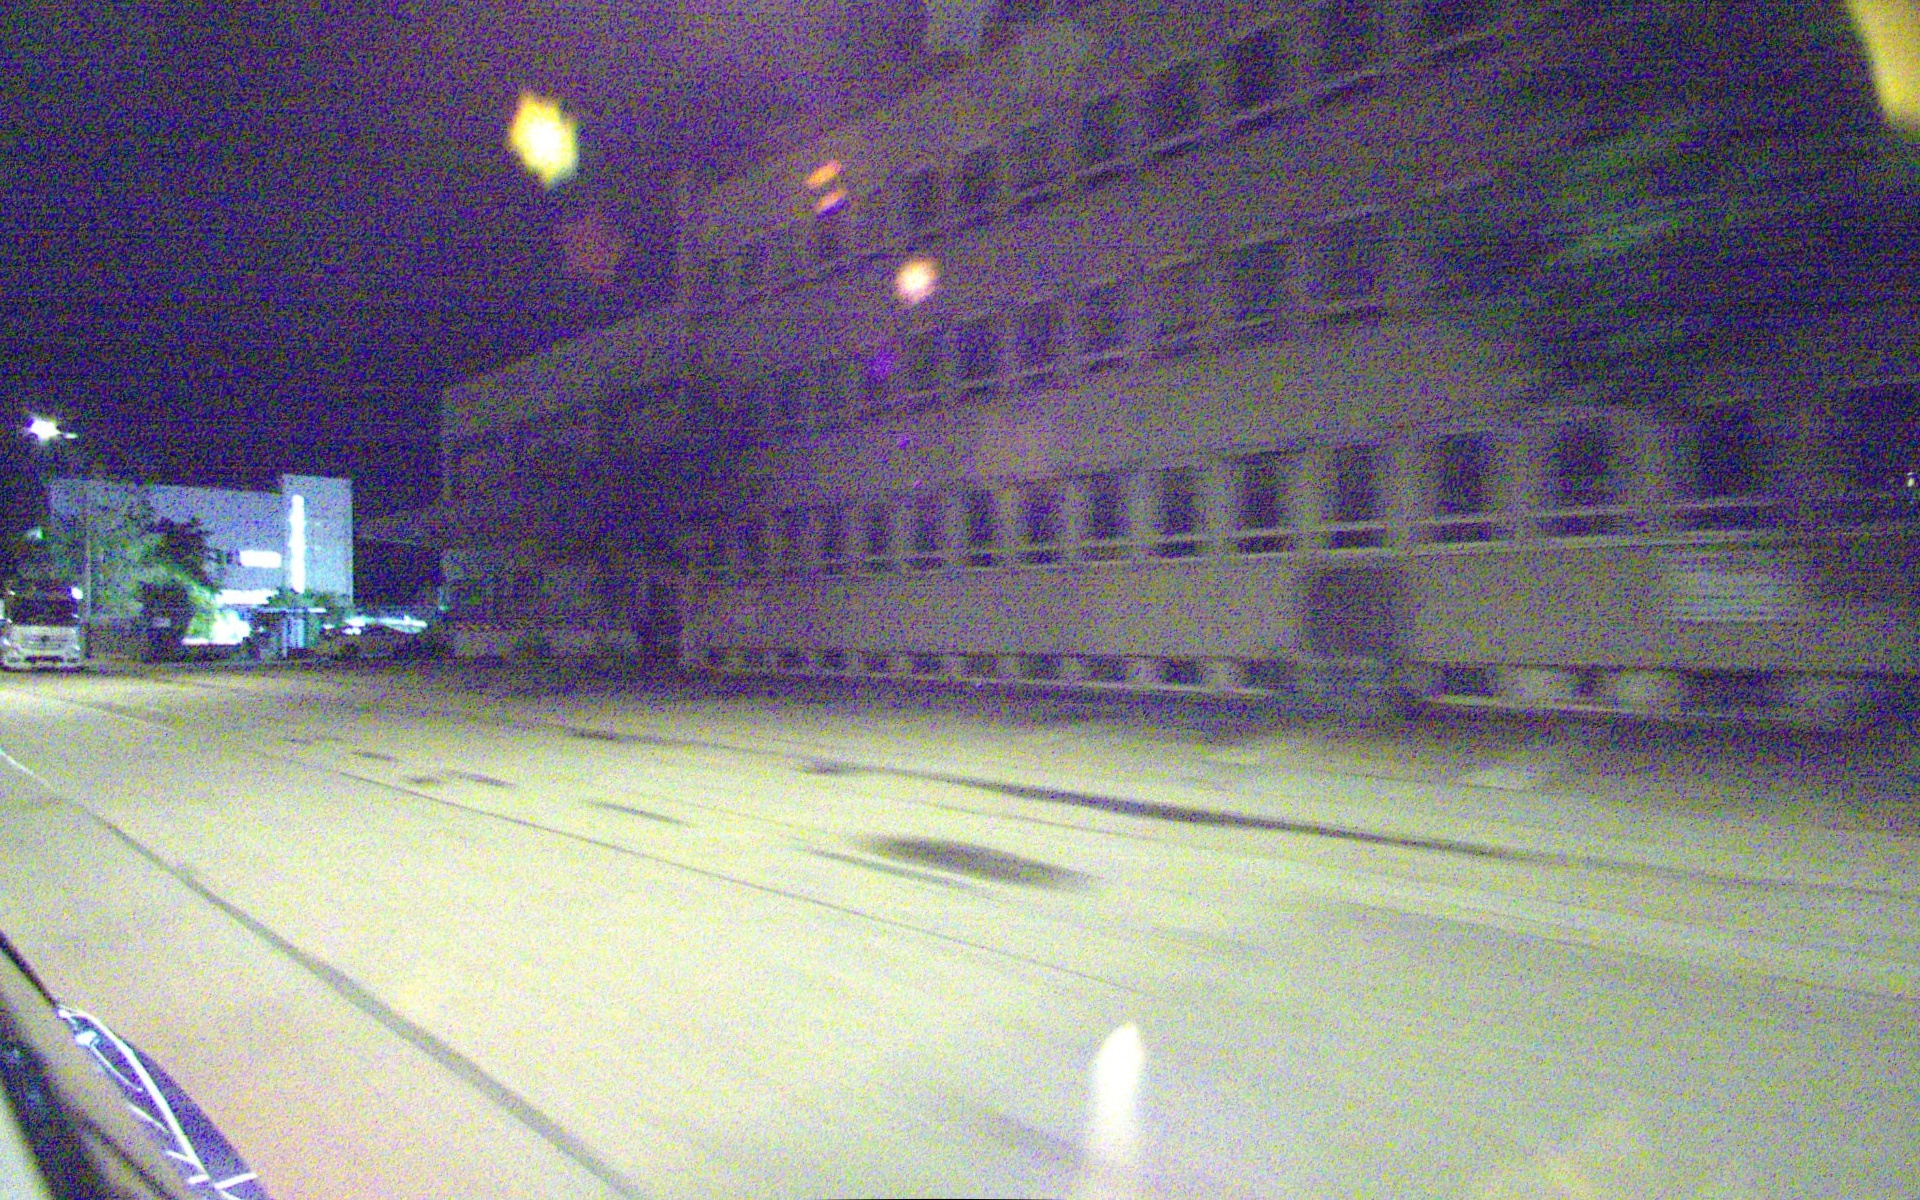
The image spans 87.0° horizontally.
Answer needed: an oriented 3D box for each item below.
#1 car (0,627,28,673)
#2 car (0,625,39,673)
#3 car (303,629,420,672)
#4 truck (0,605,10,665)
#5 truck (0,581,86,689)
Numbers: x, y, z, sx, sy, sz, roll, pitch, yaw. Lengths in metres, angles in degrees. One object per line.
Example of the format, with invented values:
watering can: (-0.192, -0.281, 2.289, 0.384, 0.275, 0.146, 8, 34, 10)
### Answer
car: (-54.896, 2.864, 57.630, 5.740, 2.462, 1.973, -2, -1, 40)
car: (-49.027, 2.512, 52.027, 4.468, 2.330, 2.116, -2, -1, 43)
car: (-26.102, 2.162, 44.247, 1.804, 1.474, 3.949, -2, 2, 38)
truck: (-63.485, 2.328, 64.448, 10.386, 3.659, 2.795, -2, -1, 38)
truck: (-42.320, 1.548, 46.070, 12.827, 4.347, 2.608, -1, -3, 44)
